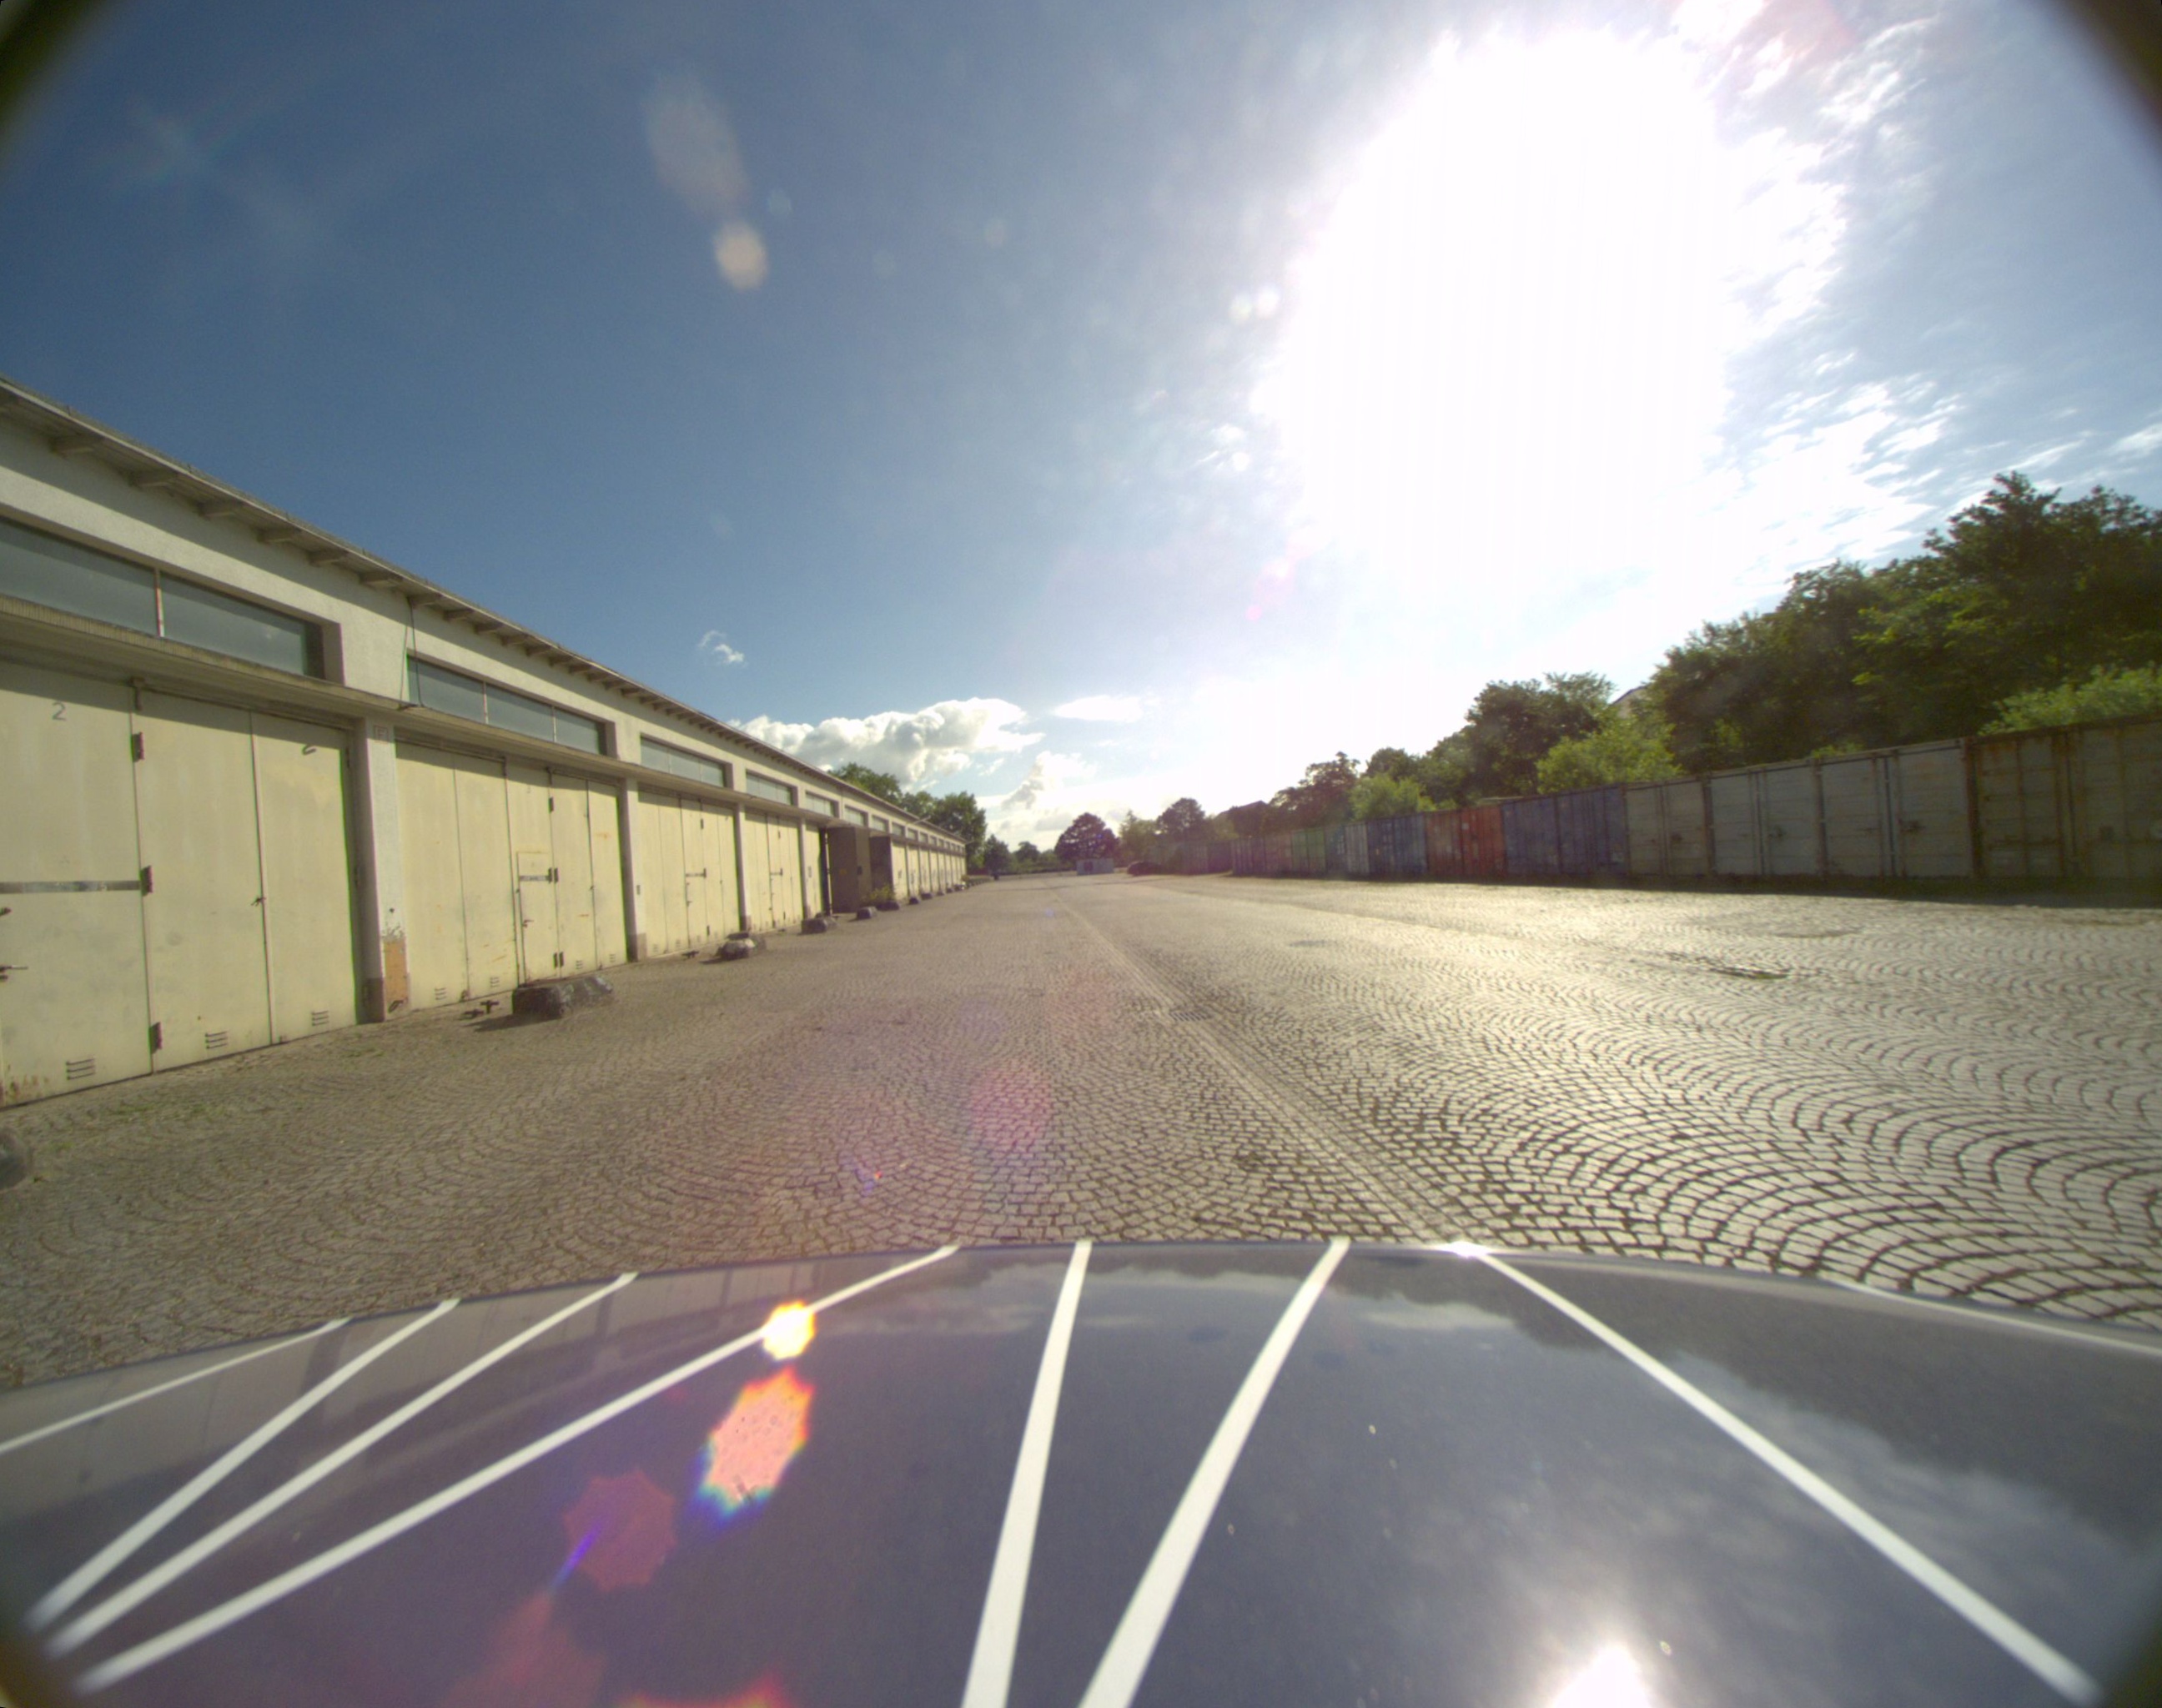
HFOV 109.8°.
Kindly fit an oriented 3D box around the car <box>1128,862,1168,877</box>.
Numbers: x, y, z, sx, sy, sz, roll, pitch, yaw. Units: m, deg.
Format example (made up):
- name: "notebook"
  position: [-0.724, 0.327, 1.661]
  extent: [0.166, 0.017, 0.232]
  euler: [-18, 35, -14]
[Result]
- name: "car"
  position: [6.888, 1.607, 78.397]
  extent: [3.876, 1.258, 1.590]
  euler: [-4, -1, -6]
